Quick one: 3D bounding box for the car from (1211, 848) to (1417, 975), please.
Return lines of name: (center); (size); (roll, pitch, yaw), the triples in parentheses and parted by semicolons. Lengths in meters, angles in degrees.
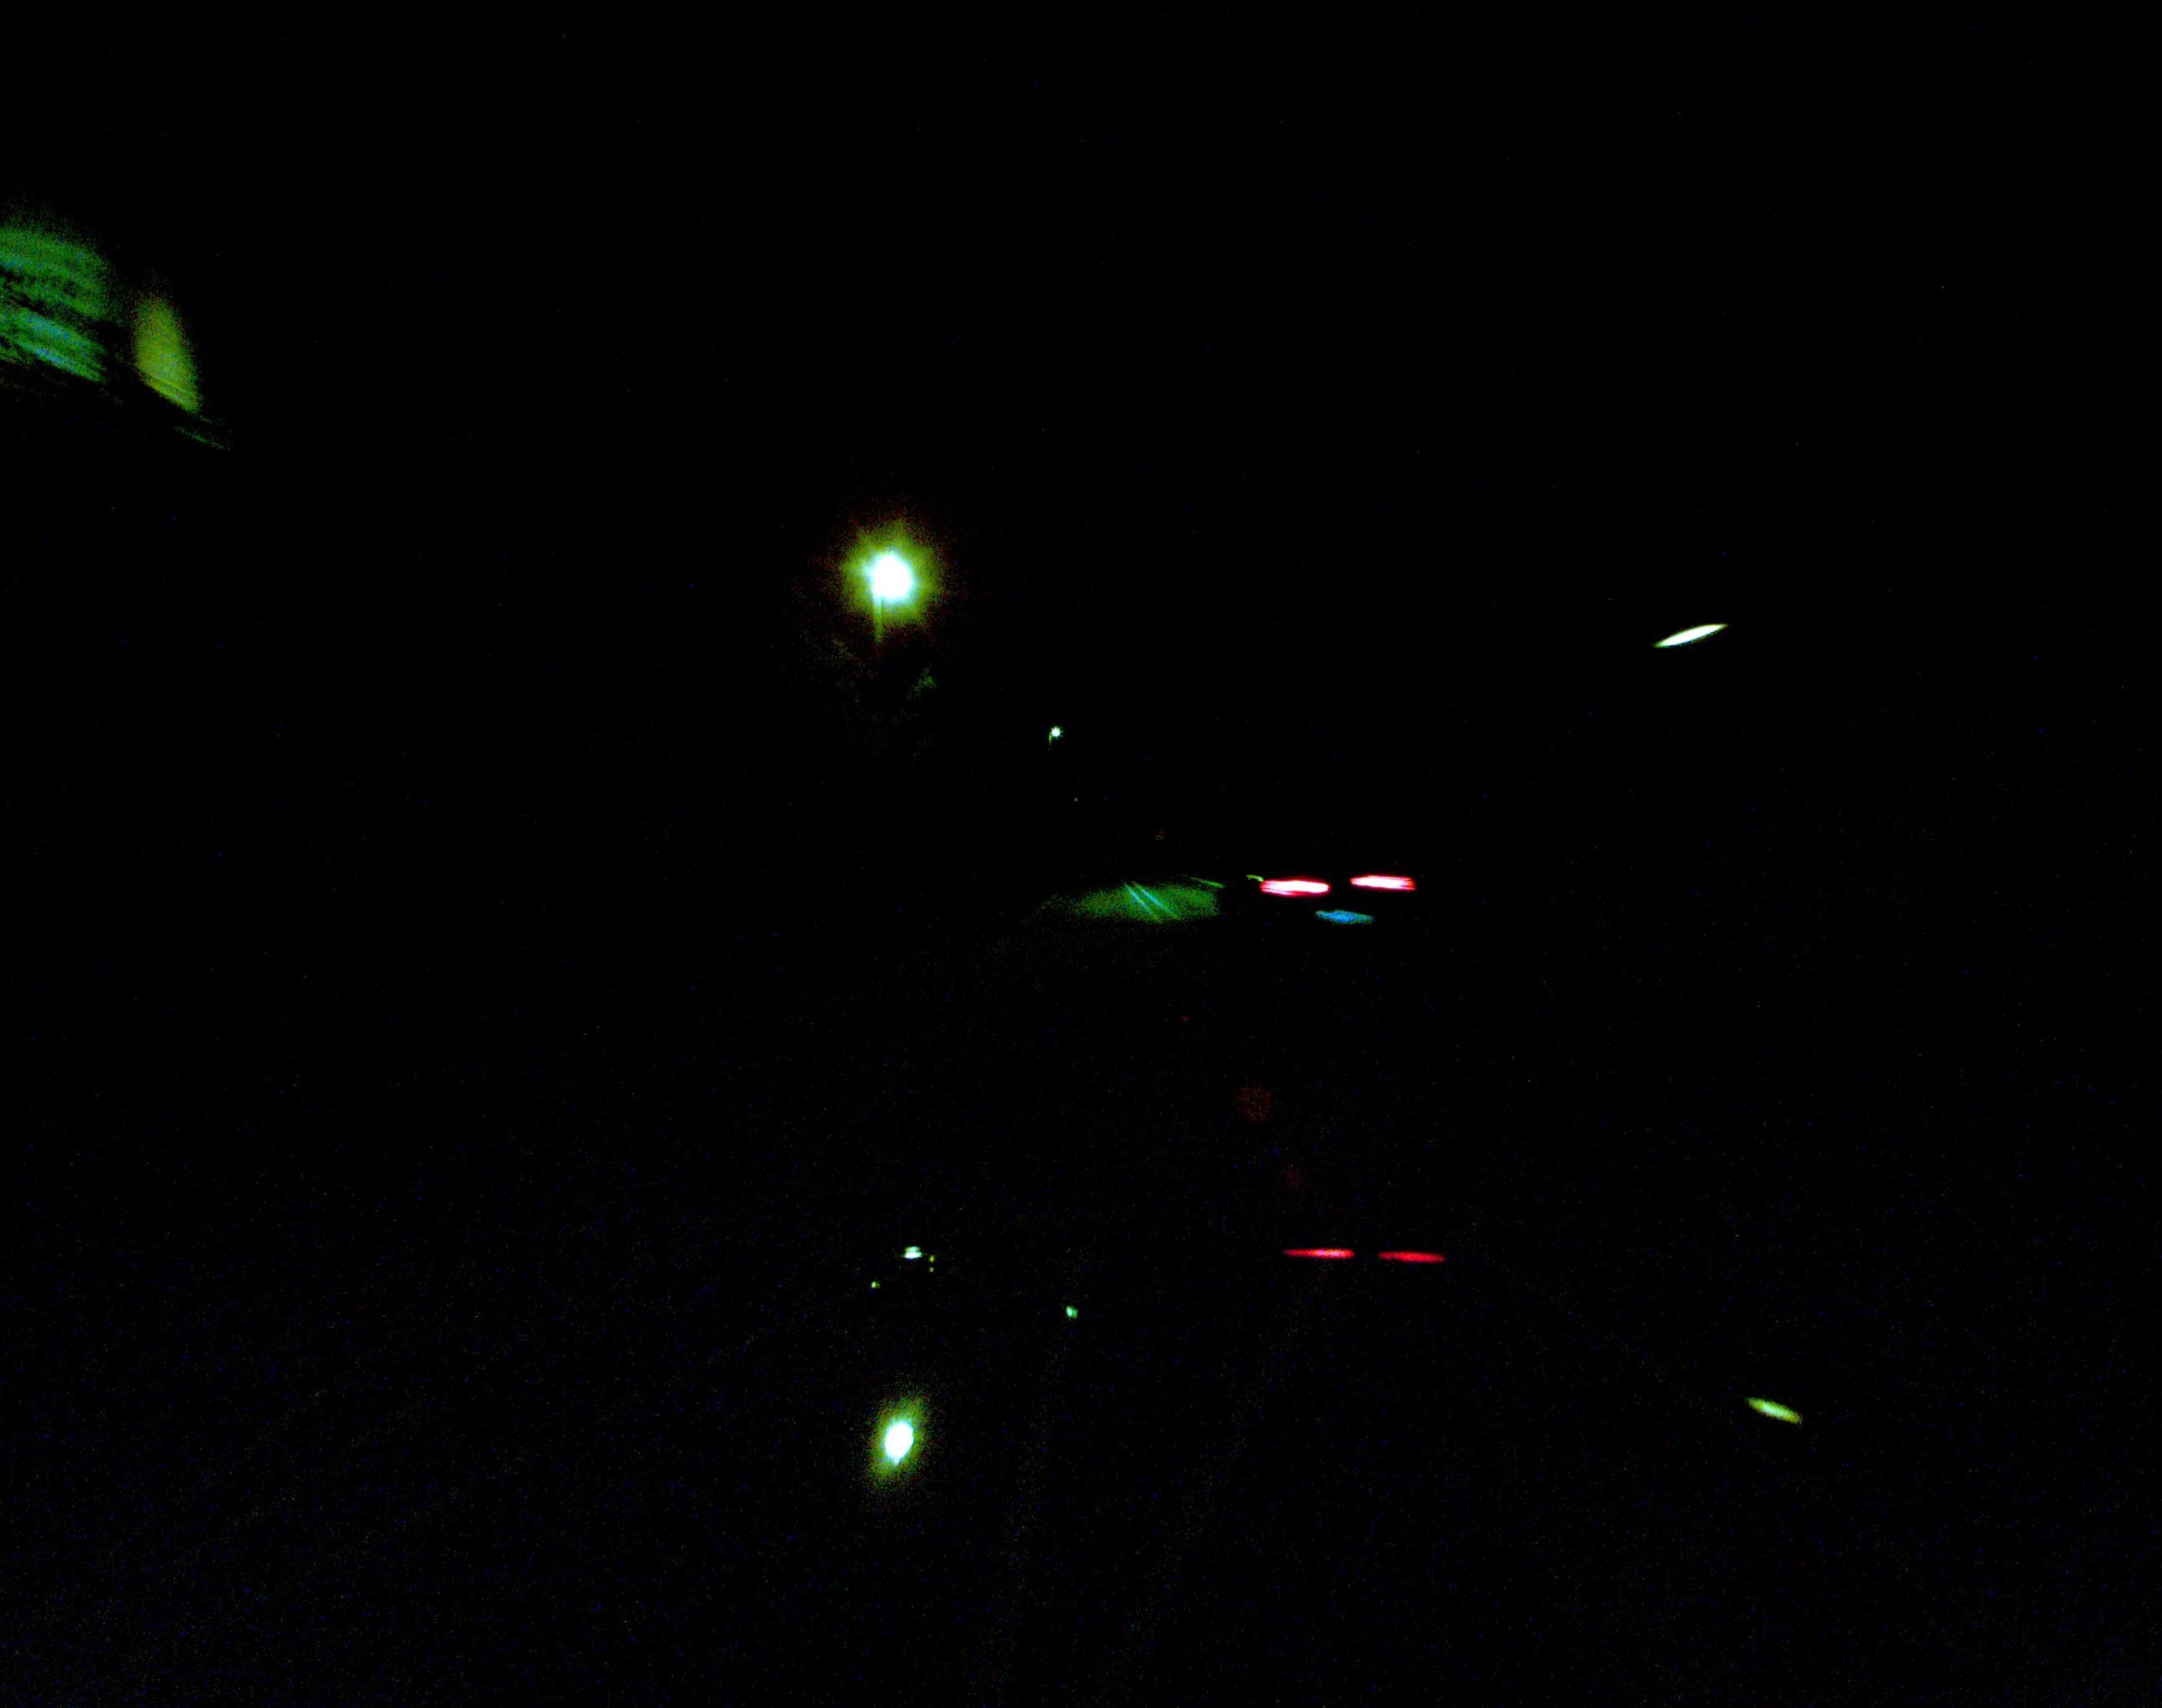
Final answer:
car: (3.413, 0.736, 12.051); (1.887, 1.545, 4.216); (-2, 1, -1)
